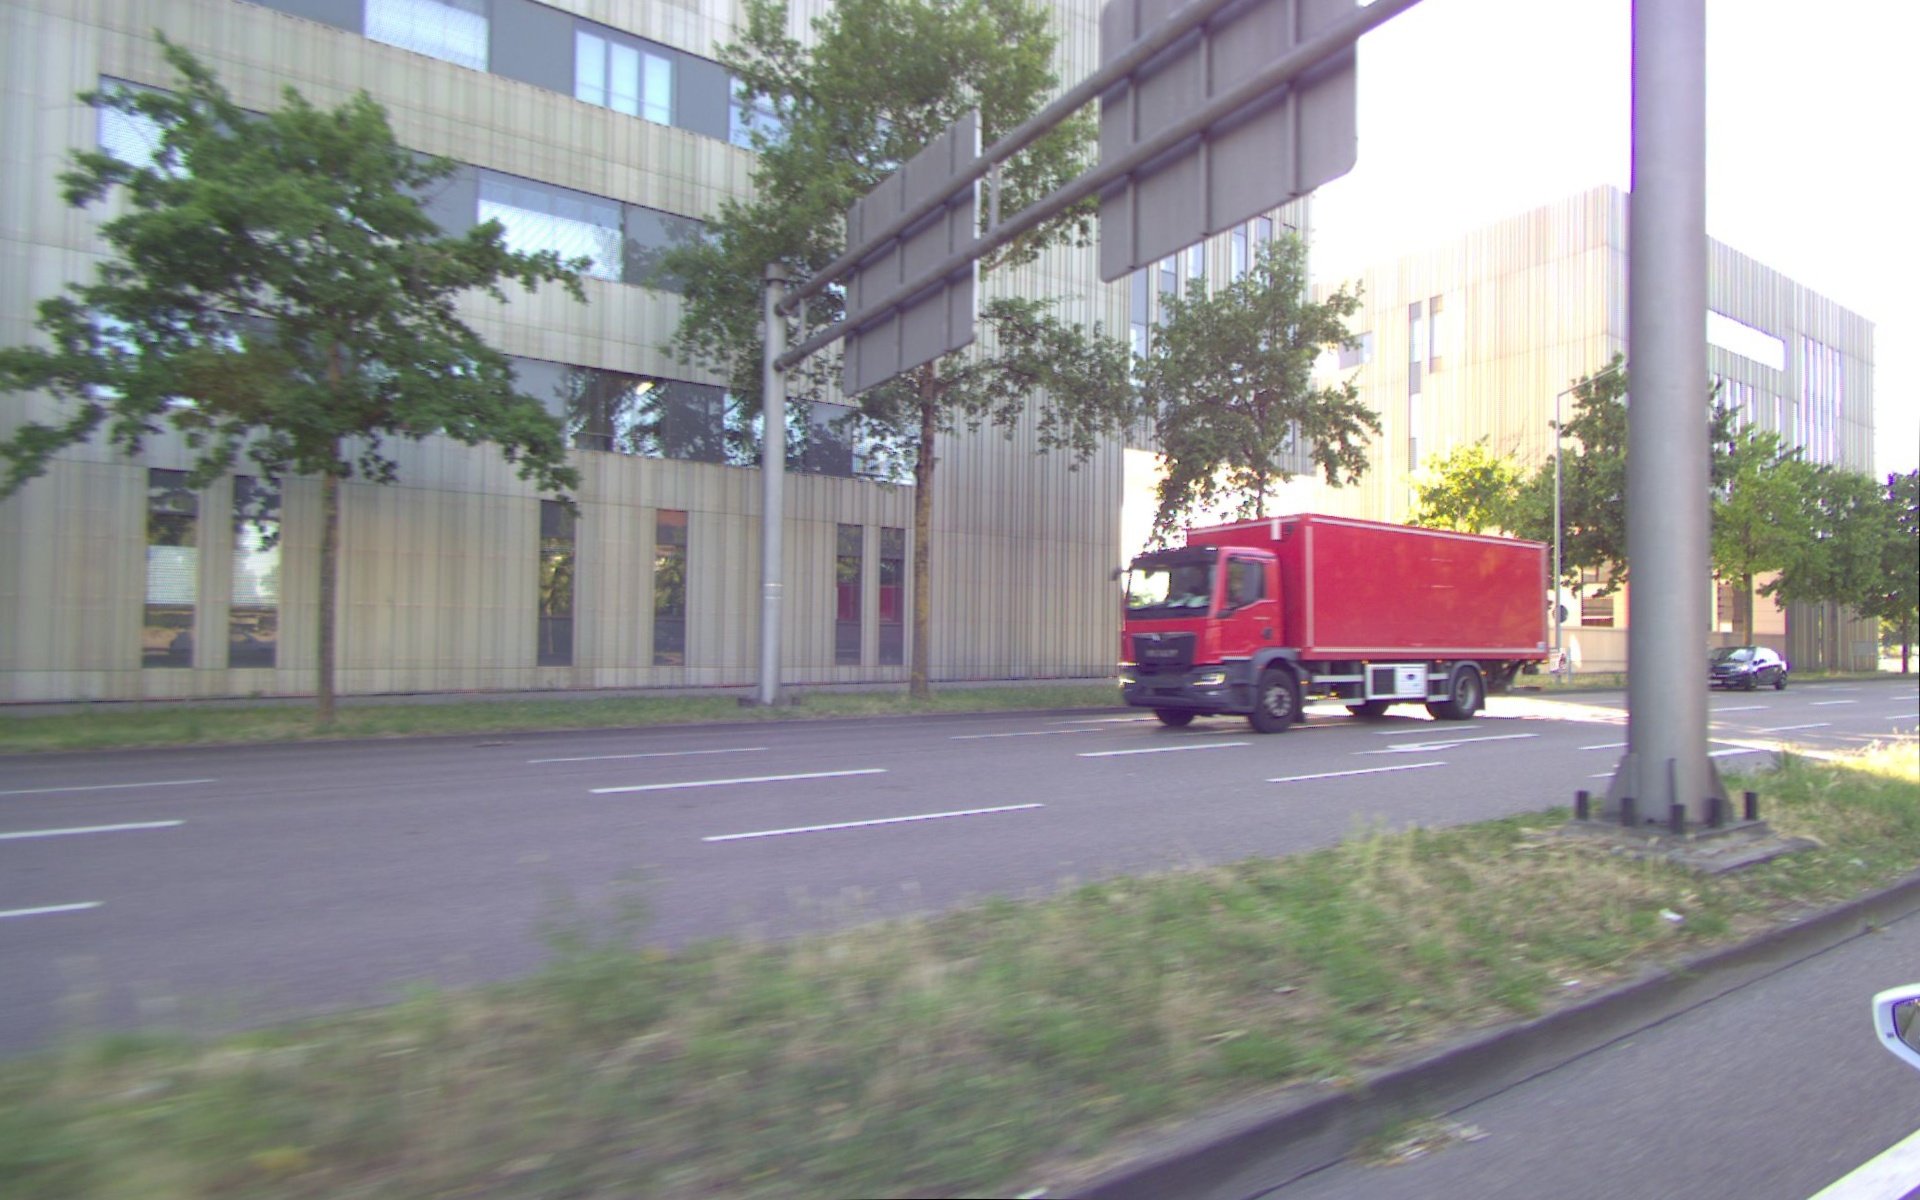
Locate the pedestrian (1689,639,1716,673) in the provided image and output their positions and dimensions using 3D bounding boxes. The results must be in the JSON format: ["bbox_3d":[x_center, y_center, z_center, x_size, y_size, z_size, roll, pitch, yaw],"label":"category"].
[{"bbox_3d":[36.395,2.743,49.240,0.899,1.622,0.772,2,-2,-31],"label":"pedestrian"}]

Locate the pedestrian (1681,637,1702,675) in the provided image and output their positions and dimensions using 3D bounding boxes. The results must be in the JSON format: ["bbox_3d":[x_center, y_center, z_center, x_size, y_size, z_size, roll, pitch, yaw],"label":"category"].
[{"bbox_3d":[36.672,2.788,50.383,0.708,1.865,0.629,2,-2,-31],"label":"pedestrian"}]

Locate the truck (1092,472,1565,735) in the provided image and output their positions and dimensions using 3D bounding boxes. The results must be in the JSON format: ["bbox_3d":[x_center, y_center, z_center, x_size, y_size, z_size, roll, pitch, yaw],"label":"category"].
[{"bbox_3d":[7.255,0.206,18.789,9.982,3.861,2.981,2,-2,-33],"label":"truck"}]

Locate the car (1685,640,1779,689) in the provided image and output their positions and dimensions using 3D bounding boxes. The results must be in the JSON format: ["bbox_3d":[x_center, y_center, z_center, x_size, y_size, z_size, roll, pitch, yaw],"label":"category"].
[{"bbox_3d":[26.181,2.159,34.041,3.832,1.532,1.584,2,-2,-37],"label":"car"}]
